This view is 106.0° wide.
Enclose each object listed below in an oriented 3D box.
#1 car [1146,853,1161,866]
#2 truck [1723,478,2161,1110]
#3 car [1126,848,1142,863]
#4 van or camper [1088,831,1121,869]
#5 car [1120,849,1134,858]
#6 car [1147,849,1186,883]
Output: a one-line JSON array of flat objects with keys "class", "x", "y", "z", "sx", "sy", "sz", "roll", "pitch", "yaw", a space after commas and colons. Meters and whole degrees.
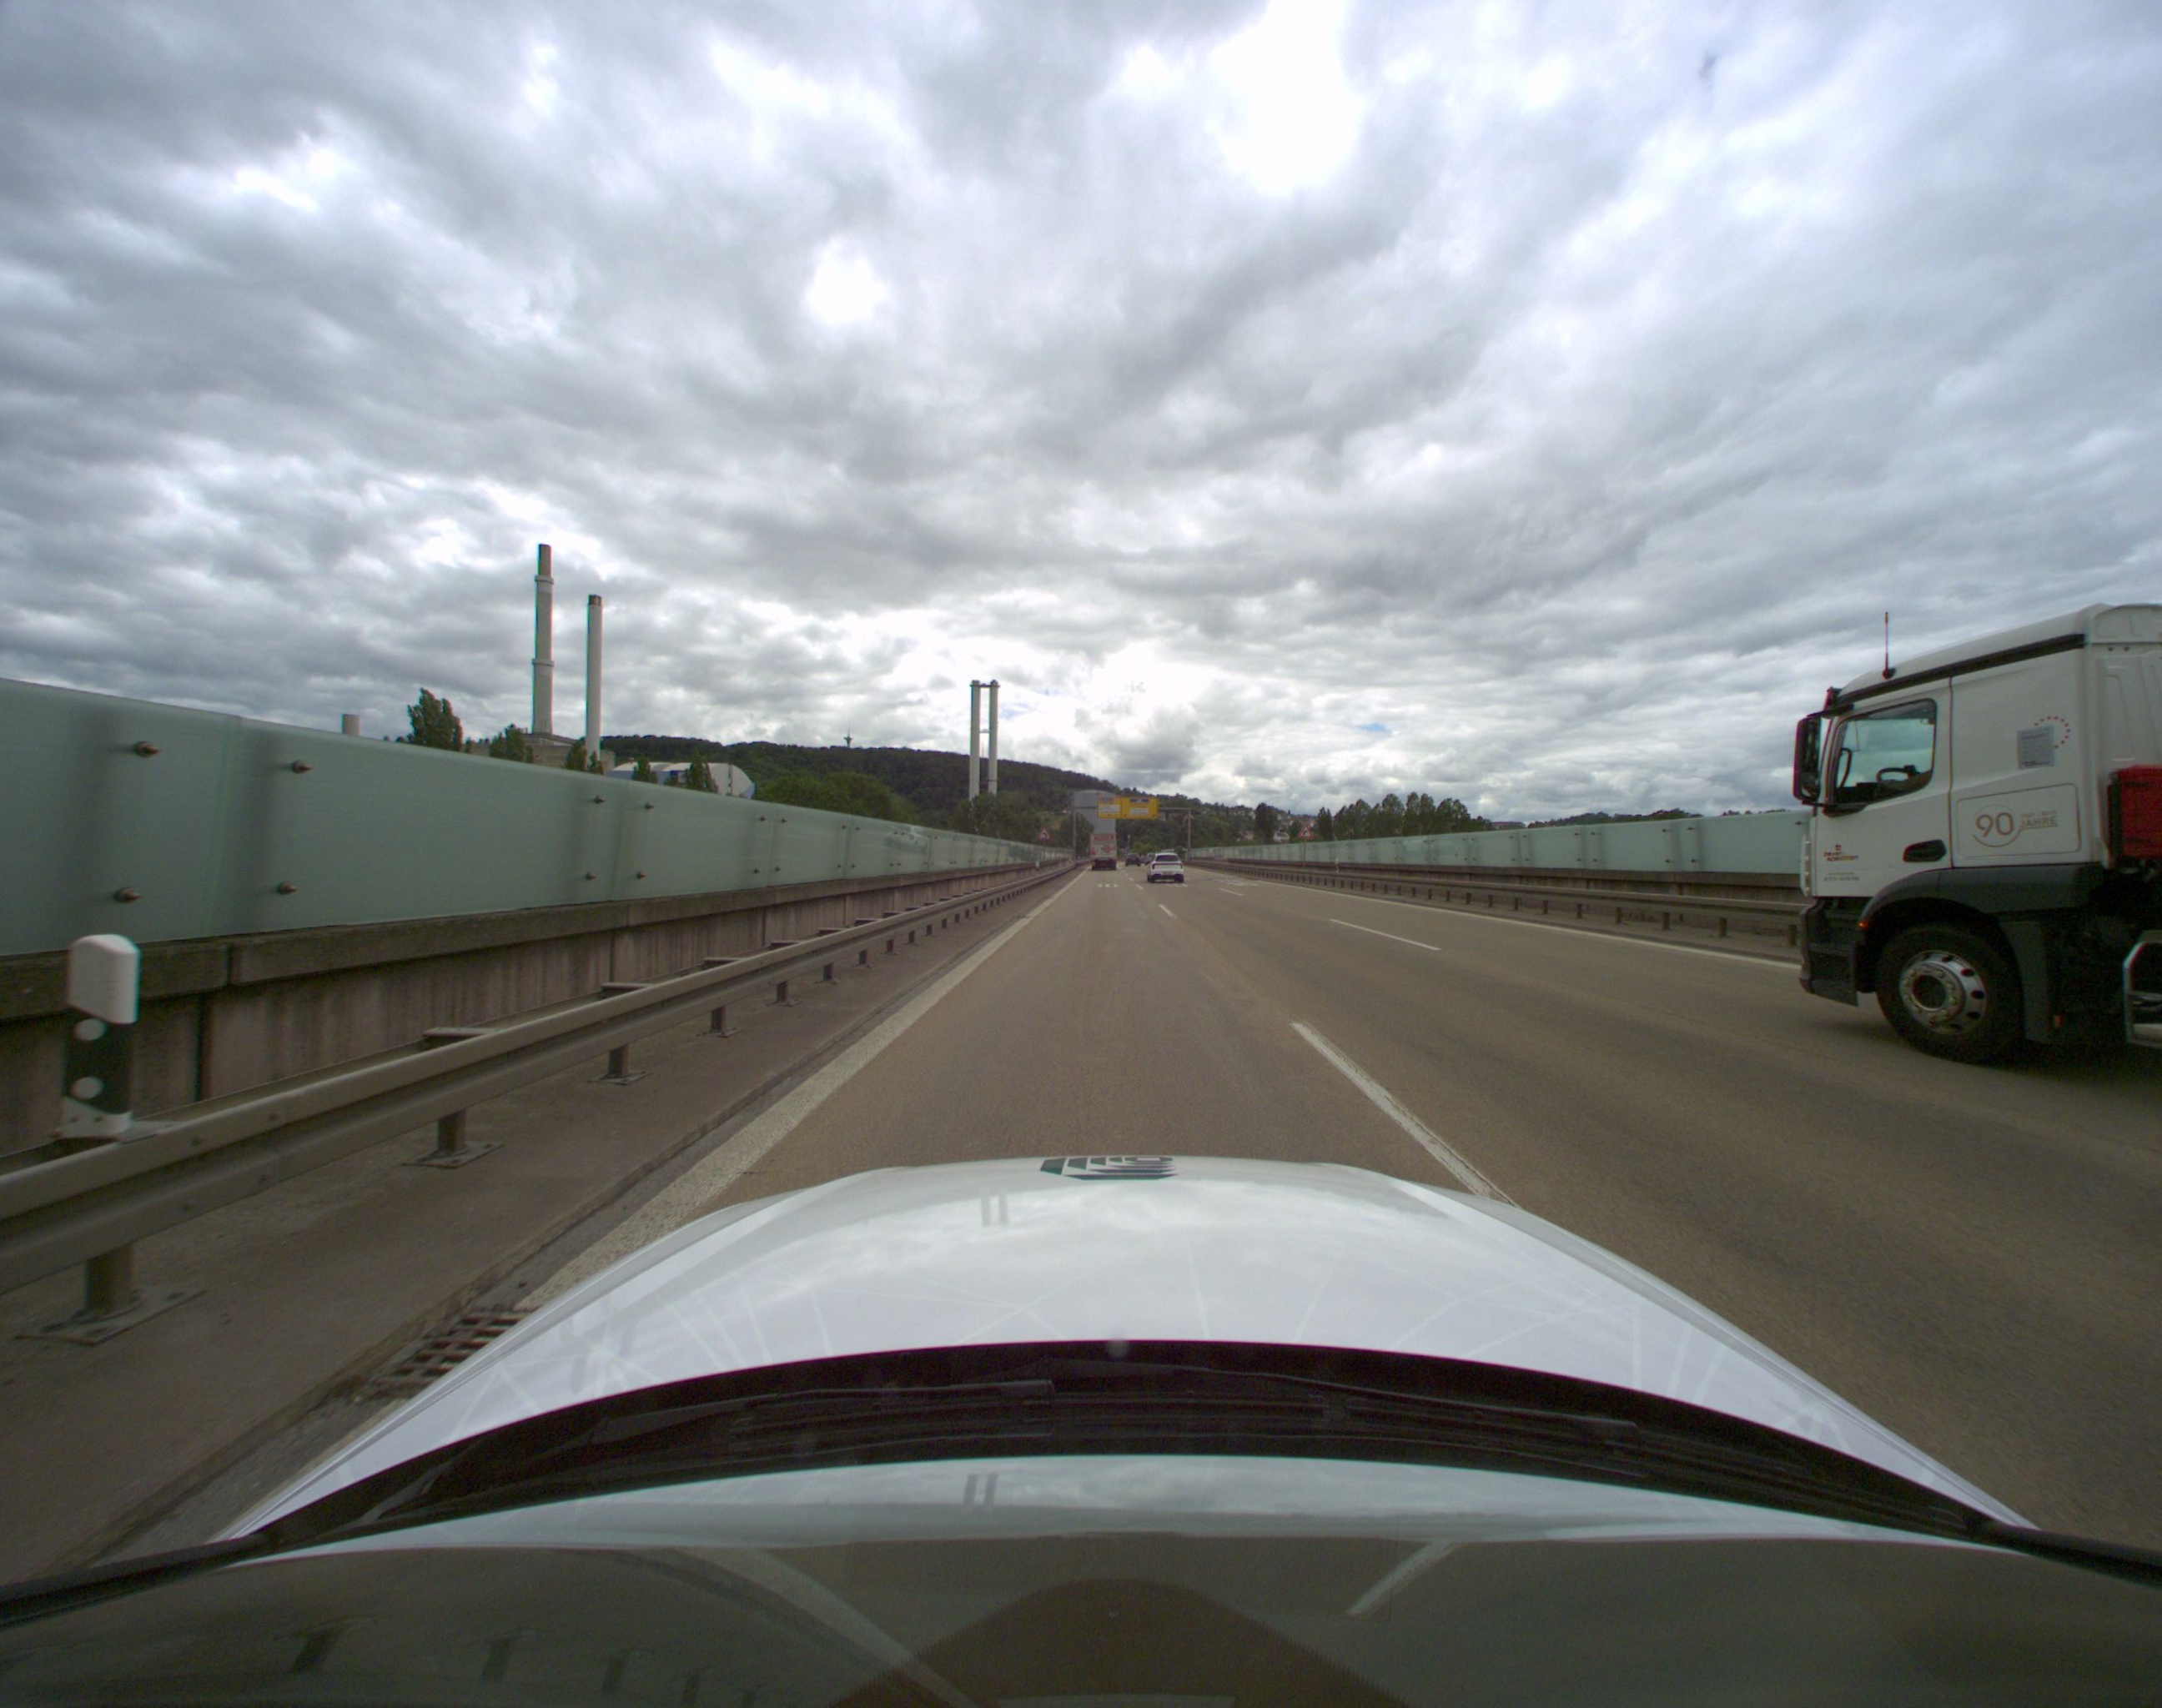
[{"class": "car", "x": 10.215, "y": 0.792, "z": 115.249, "sx": 1.916, "sy": 1.785, "sz": 4.116, "roll": 0, "pitch": 0, "yaw": 2}, {"class": "truck", "x": 7.357, "y": -0.339, "z": 5.257, "sx": 2.621, "sy": 3.514, "sz": 4.906, "roll": -1, "pitch": -1, "yaw": 2}, {"class": "car", "x": 6.739, "y": 0.179, "z": 104.296, "sx": 1.916, "sy": 1.785, "sz": 4.115, "roll": 0, "pitch": 0, "yaw": 2}, {"class": "van or camper", "x": 2.430, "y": -0.342, "z": 80.932, "sx": 3.109, "sy": 3.579, "sz": 8.556, "roll": -1, "pitch": 0, "yaw": 3}, {"class": "car", "x": 10.666, "y": -0.073, "z": 188.854, "sx": 2.457, "sy": 1.979, "sz": 5.176, "roll": -1, "pitch": 0, "yaw": 11}, {"class": "car", "x": 4.814, "y": 0.642, "z": 46.099, "sx": 1.916, "sy": 1.785, "sz": 4.115, "roll": 0, "pitch": 0, "yaw": 2}]
